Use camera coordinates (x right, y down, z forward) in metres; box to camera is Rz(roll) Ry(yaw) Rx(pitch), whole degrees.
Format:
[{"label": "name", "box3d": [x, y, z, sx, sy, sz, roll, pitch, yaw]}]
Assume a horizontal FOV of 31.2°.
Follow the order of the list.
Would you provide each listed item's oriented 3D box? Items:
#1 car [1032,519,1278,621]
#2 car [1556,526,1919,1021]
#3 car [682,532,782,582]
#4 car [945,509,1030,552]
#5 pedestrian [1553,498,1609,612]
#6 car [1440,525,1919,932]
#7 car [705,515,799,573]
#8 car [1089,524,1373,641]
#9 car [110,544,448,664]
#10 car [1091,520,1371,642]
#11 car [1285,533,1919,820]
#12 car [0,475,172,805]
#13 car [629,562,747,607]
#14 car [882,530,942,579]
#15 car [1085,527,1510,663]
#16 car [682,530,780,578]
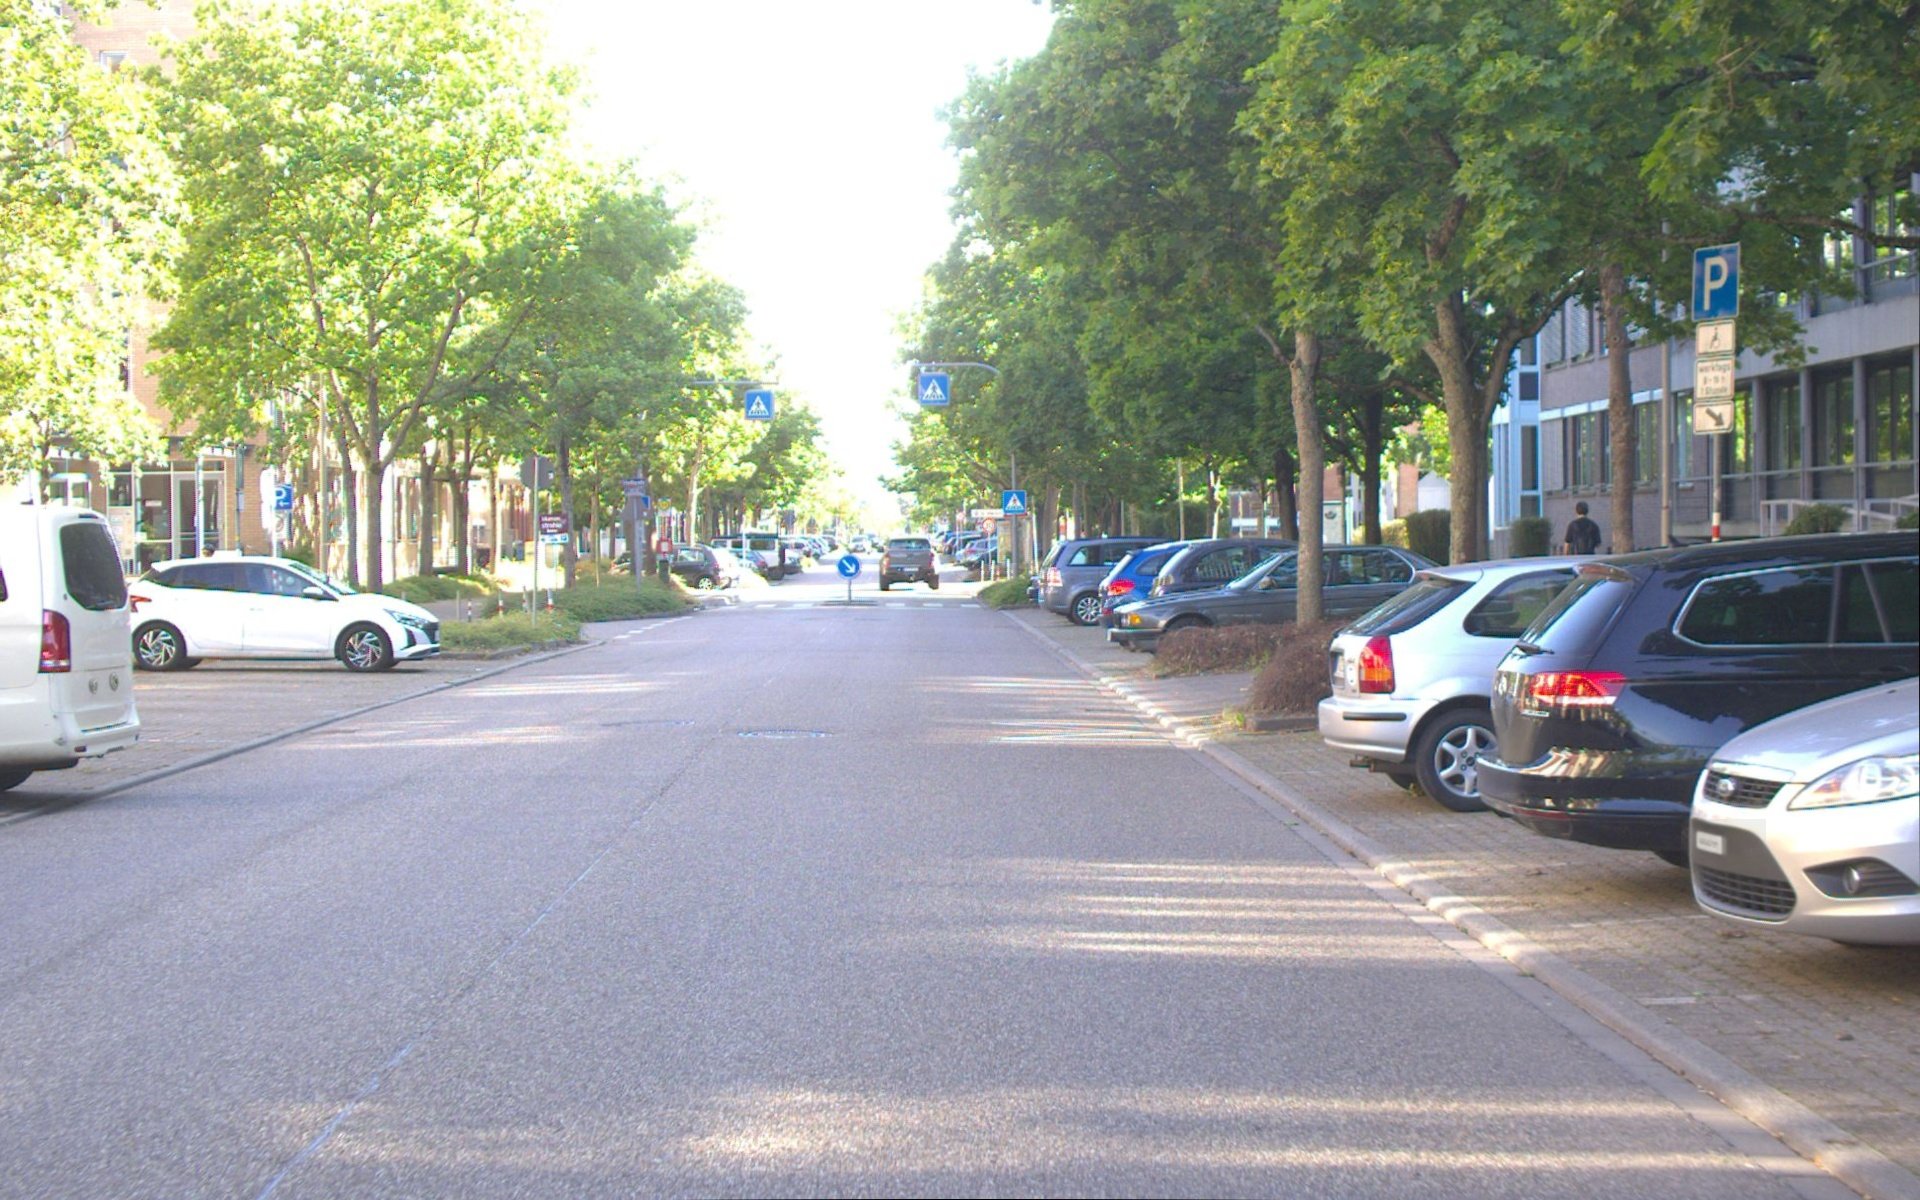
[{"label": "car", "box3d": [3.611, -0.563, 64.180, 4.350, 1.698, 1.813, -2, 1, -3]}, {"label": "car", "box3d": [4.396, 0.455, 11.691, 4.285, 1.488, 2.004, -2, 1, -2]}, {"label": "car", "box3d": [-9.683, -1.829, 145.959, 3.987, 2.007, 2.000, -1, 1, 4]}, {"label": "car", "box3d": [1.336, -3.366, 167.133, 3.986, 2.007, 2.000, -1, 1, -2]}, {"label": "pedestrian", "box3d": [9.562, -0.696, 52.980, 0.607, 1.739, 1.191, -1, 1, -1]}, {"label": "car", "box3d": [4.466, 0.417, 14.354, 4.591, 1.488, 1.763, -3, 1, -1]}, {"label": "car", "box3d": [-9.297, -2.518, 154.019, 3.987, 2.532, 1.862, 0, 1, 4]}, {"label": "car", "box3d": [3.909, -0.267, 50.038, 3.949, 1.509, 1.813, -2, 1, 1]}, {"label": "car", "box3d": [-8.640, 0.033, 43.870, 3.986, 1.481, 1.807, 0, 1, -2]}, {"label": "car", "box3d": [3.704, -0.277, 47.426, 3.641, 1.509, 1.813, -2, 1, -1]}, {"label": "car", "box3d": [3.967, 0.396, 19.584, 3.969, 1.415, 1.710, -2, 1, -2]}, {"label": "car", "box3d": [-7.785, 0.180, 21.488, 5.257, 1.960, 1.943, 1, 1, -1]}, {"label": "car", "box3d": [-9.393, -0.525, 118.685, 3.847, 1.468, 1.813, 1, 1, -11]}, {"label": "car", "box3d": [-1.645, -1.562, 117.856, 1.993, 1.634, 4.000, 1, 1, -1]}, {"label": "car", "box3d": [4.023, -0.078, 41.538, 4.824, 1.415, 2.032, -2, 1, -2]}, {"label": "car", "box3d": [-9.940, -1.993, 149.155, 3.987, 2.007, 2.000, -1, 1, 4]}]
